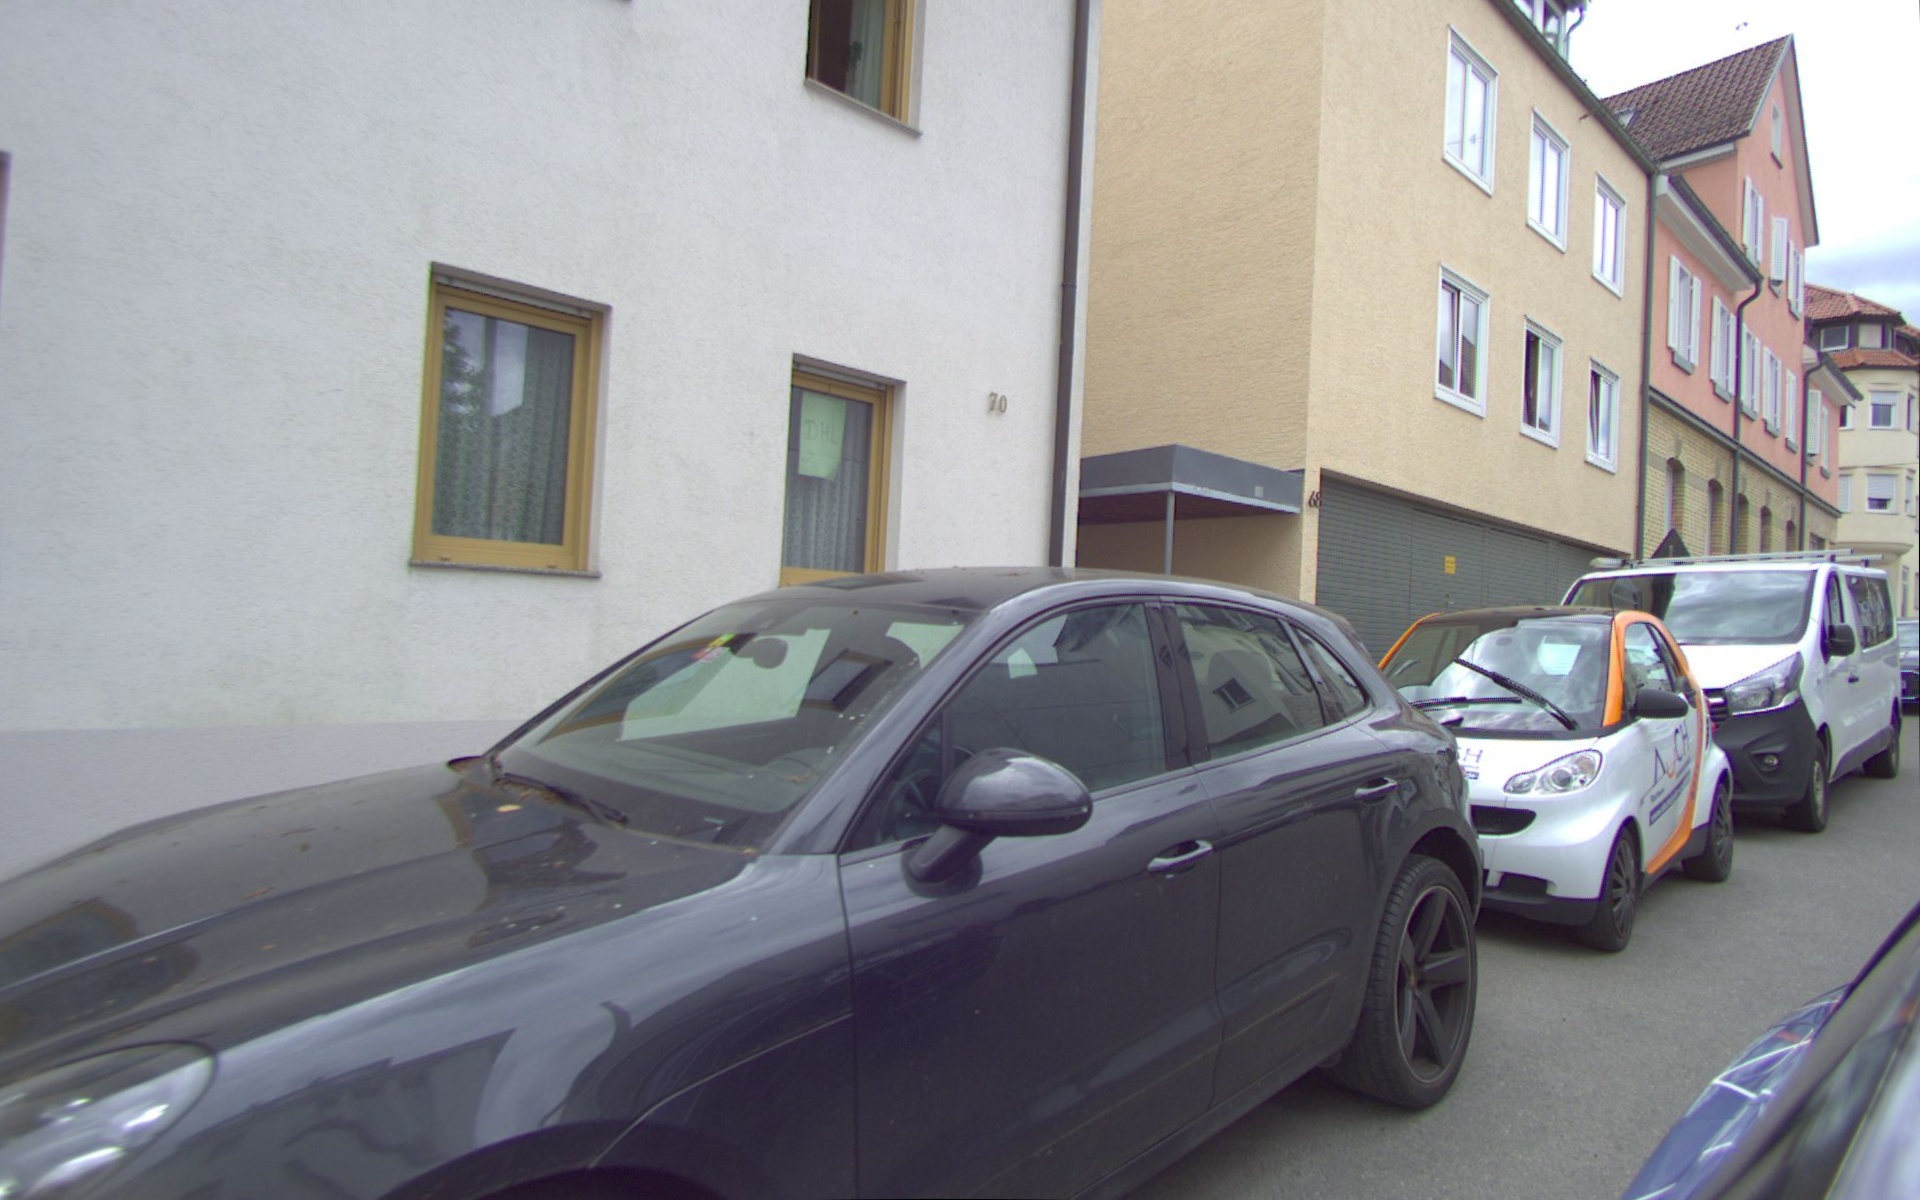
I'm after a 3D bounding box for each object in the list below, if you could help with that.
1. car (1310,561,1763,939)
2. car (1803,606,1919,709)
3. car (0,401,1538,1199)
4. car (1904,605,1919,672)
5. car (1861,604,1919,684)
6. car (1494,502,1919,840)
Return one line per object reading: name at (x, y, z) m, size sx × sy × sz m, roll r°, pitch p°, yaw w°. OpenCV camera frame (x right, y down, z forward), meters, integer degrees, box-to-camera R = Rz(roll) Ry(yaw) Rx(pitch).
car at (3.397, 0.659, 5.823) m, size 2.743 × 1.617 × 1.488 m, roll 1°, pitch -1°, yaw -42°
car at (15.099, 0.835, 16.183) m, size 4.497 × 1.421 × 1.854 m, roll -1°, pitch -2°, yaw -43°
car at (-0.152, 0.650, 2.739) m, size 4.421 × 1.617 × 1.715 m, roll 1°, pitch -1°, yaw -42°
car at (22.222, 0.824, 22.155) m, size 4.217 × 1.421 × 1.855 m, roll 1°, pitch -1°, yaw -41°
car at (18.465, 0.793, 19.142) m, size 3.901 × 1.421 × 1.853 m, roll 1°, pitch -1°, yaw -44°
car at (6.760, 0.463, 8.767) m, size 5.633 × 2.056 × 1.908 m, roll 1°, pitch -1°, yaw -41°
